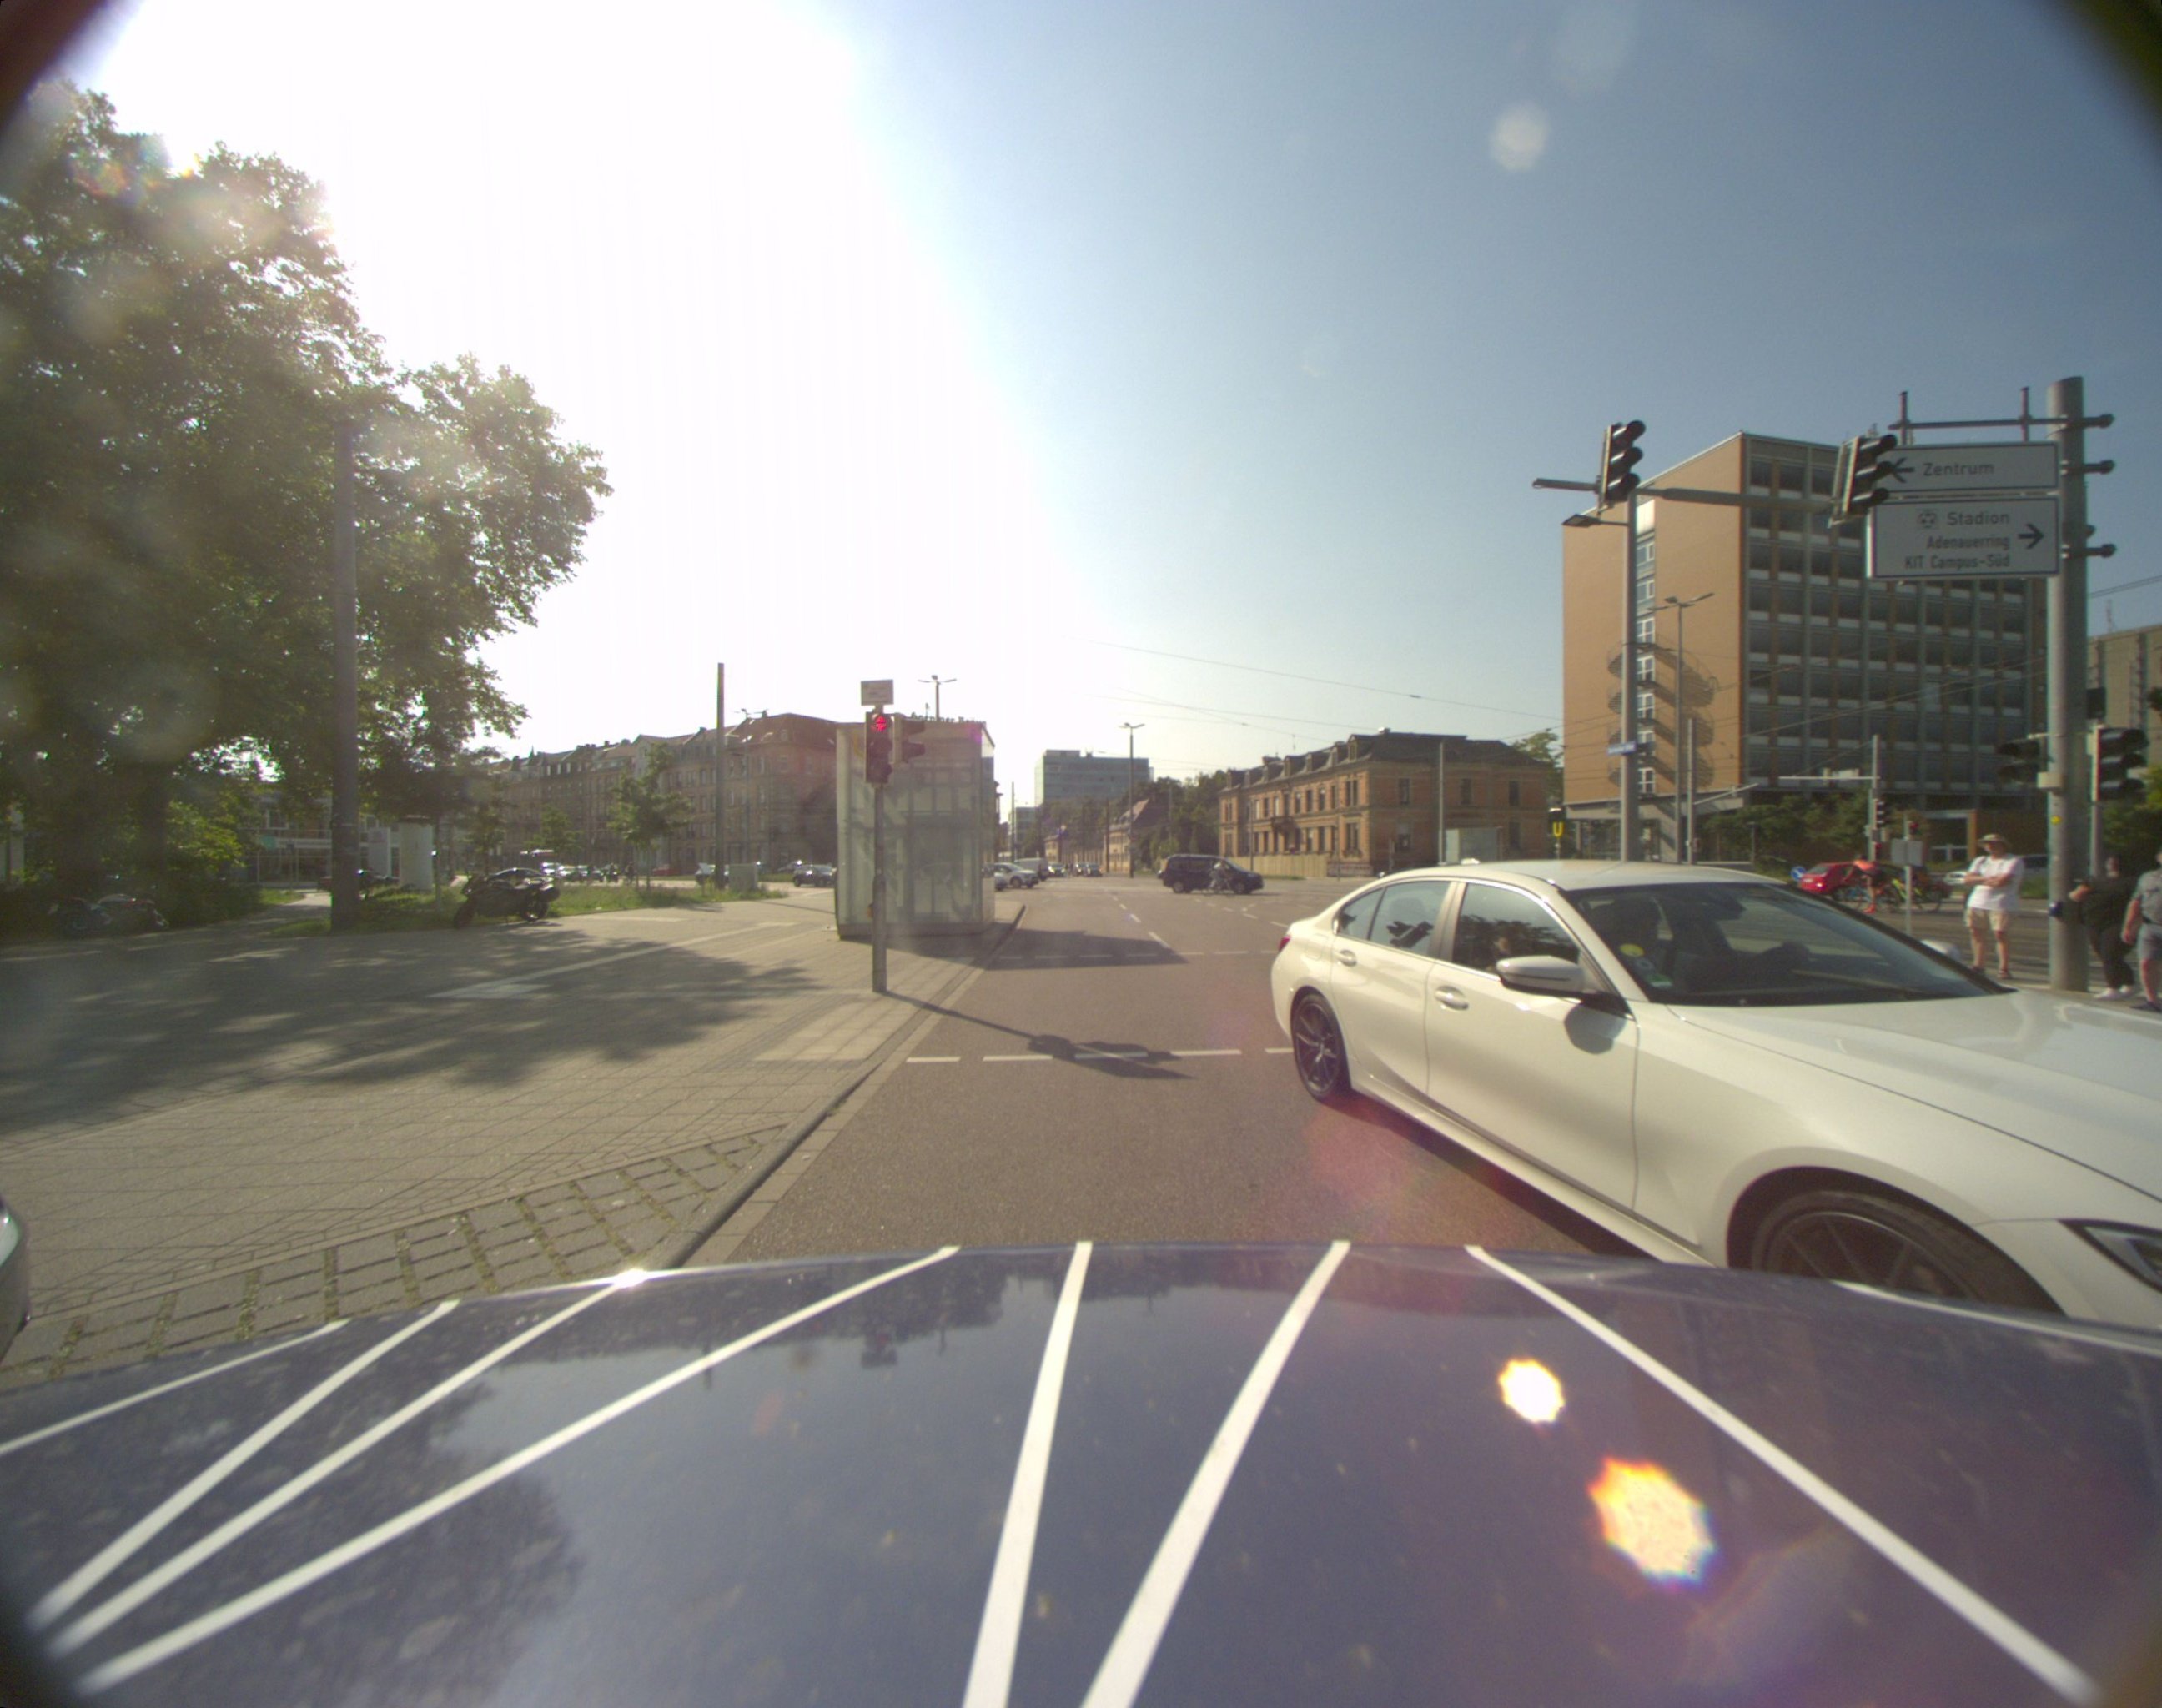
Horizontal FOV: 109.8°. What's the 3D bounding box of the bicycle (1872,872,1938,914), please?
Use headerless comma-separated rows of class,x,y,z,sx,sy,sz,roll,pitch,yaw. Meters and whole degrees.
bicycle,24.102,1.109,22.267,0.376,1.158,1.861,-1,-1,16

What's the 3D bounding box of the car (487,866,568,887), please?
car,-39.999,1.594,54.959,1.994,1.362,4.408,0,0,43

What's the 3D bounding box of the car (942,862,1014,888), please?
car,-5.808,1.164,42.956,3.607,1.407,1.806,0,0,21

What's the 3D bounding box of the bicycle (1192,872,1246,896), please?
bicycle,5.929,1.274,32.681,2.192,0.983,0.530,-1,1,21

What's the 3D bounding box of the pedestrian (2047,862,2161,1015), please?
pedestrian,11.106,0.895,8.226,0.634,1.588,0.468,2,1,-1

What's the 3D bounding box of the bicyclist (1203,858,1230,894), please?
bicyclist,5.826,0.935,32.633,0.970,1.467,1.089,0,2,21

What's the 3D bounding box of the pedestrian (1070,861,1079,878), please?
pedestrian,-0.670,1.553,75.123,0.792,1.677,0.661,0,0,10

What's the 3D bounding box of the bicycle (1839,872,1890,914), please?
bicycle,22.783,1.110,22.116,0.311,1.158,1.501,-1,-1,16

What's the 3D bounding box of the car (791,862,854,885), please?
car,-16.788,1.263,49.293,3.893,1.433,1.807,0,0,31

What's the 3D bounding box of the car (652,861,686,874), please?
car,-46.562,1.484,85.934,3.770,1.439,1.680,0,-1,30

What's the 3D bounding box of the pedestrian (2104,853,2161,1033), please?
pedestrian,10.543,0.847,7.168,0.816,1.683,0.651,2,1,1

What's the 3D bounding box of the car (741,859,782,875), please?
car,-33.454,1.374,79.562,4.278,1.614,1.819,-1,-1,33

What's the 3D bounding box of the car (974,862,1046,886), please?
car,-4.241,1.172,45.496,3.989,1.407,1.807,0,0,31

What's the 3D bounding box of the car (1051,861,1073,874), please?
car,-2.061,1.469,82.322,1.927,1.368,3.997,0,0,-8

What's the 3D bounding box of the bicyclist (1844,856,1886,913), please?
bicyclist,22.735,0.874,22.043,0.511,1.620,0.808,-1,0,15

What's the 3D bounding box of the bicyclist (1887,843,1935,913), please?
bicyclist,23.980,0.691,21.975,0.580,1.963,0.808,-1,0,15

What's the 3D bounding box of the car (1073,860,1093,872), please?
car,0.218,1.322,85.469,1.693,1.319,3.997,0,0,-8

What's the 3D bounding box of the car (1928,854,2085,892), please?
car,43.044,0.899,35.476,4.281,1.696,1.955,0,-2,16

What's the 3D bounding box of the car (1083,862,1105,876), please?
car,1.319,1.555,79.587,1.693,1.319,3.997,0,0,-8

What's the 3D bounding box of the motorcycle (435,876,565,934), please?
motorcycle,-12.779,1.081,16.817,0.704,1.140,2.304,0,0,16

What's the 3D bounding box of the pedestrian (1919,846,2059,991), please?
pedestrian,11.775,0.803,9.887,0.834,1.778,0.729,2,1,8

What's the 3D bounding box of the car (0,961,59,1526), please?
car,-4.130,1.046,0.122,4.418,1.415,1.843,-1,0,-41

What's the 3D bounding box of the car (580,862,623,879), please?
car,-42.697,1.477,67.615,3.621,1.433,1.807,0,0,31

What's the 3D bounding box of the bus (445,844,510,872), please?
bus,-66.933,0.452,84.138,11.464,2.966,2.904,0,0,37

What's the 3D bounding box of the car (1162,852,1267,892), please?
car,6.487,0.853,37.039,4.761,1.817,1.806,0,0,24

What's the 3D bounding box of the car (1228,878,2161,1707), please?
car,2.458,0.910,3.310,1.815,1.419,4.769,-2,0,-12

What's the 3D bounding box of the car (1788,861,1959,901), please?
car,29.156,0.952,28.111,3.991,1.407,1.806,0,0,18

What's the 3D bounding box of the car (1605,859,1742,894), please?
car,25.543,0.955,32.949,4.340,1.443,1.806,0,0,19

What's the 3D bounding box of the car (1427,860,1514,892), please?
car,18.126,1.001,35.540,3.548,1.427,1.806,0,0,23

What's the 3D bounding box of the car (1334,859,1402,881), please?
car,19.836,1.116,52.645,4.315,1.456,1.677,0,-2,20

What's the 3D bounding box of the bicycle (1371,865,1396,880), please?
bicycle,23.733,1.439,59.654,1.767,1.187,0.402,0,0,34

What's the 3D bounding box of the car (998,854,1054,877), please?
car,-4.533,0.944,62.663,4.280,1.874,1.798,0,-2,21

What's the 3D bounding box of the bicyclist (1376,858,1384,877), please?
bicyclist,23.553,1.075,59.876,0.547,1.471,0.398,0,0,34

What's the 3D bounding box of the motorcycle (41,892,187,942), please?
motorcycle,-22.448,1.440,17.701,0.704,0.996,1.959,0,0,16

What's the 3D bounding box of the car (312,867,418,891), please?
car,-45.066,1.548,47.941,1.995,1.362,4.406,0,0,26
